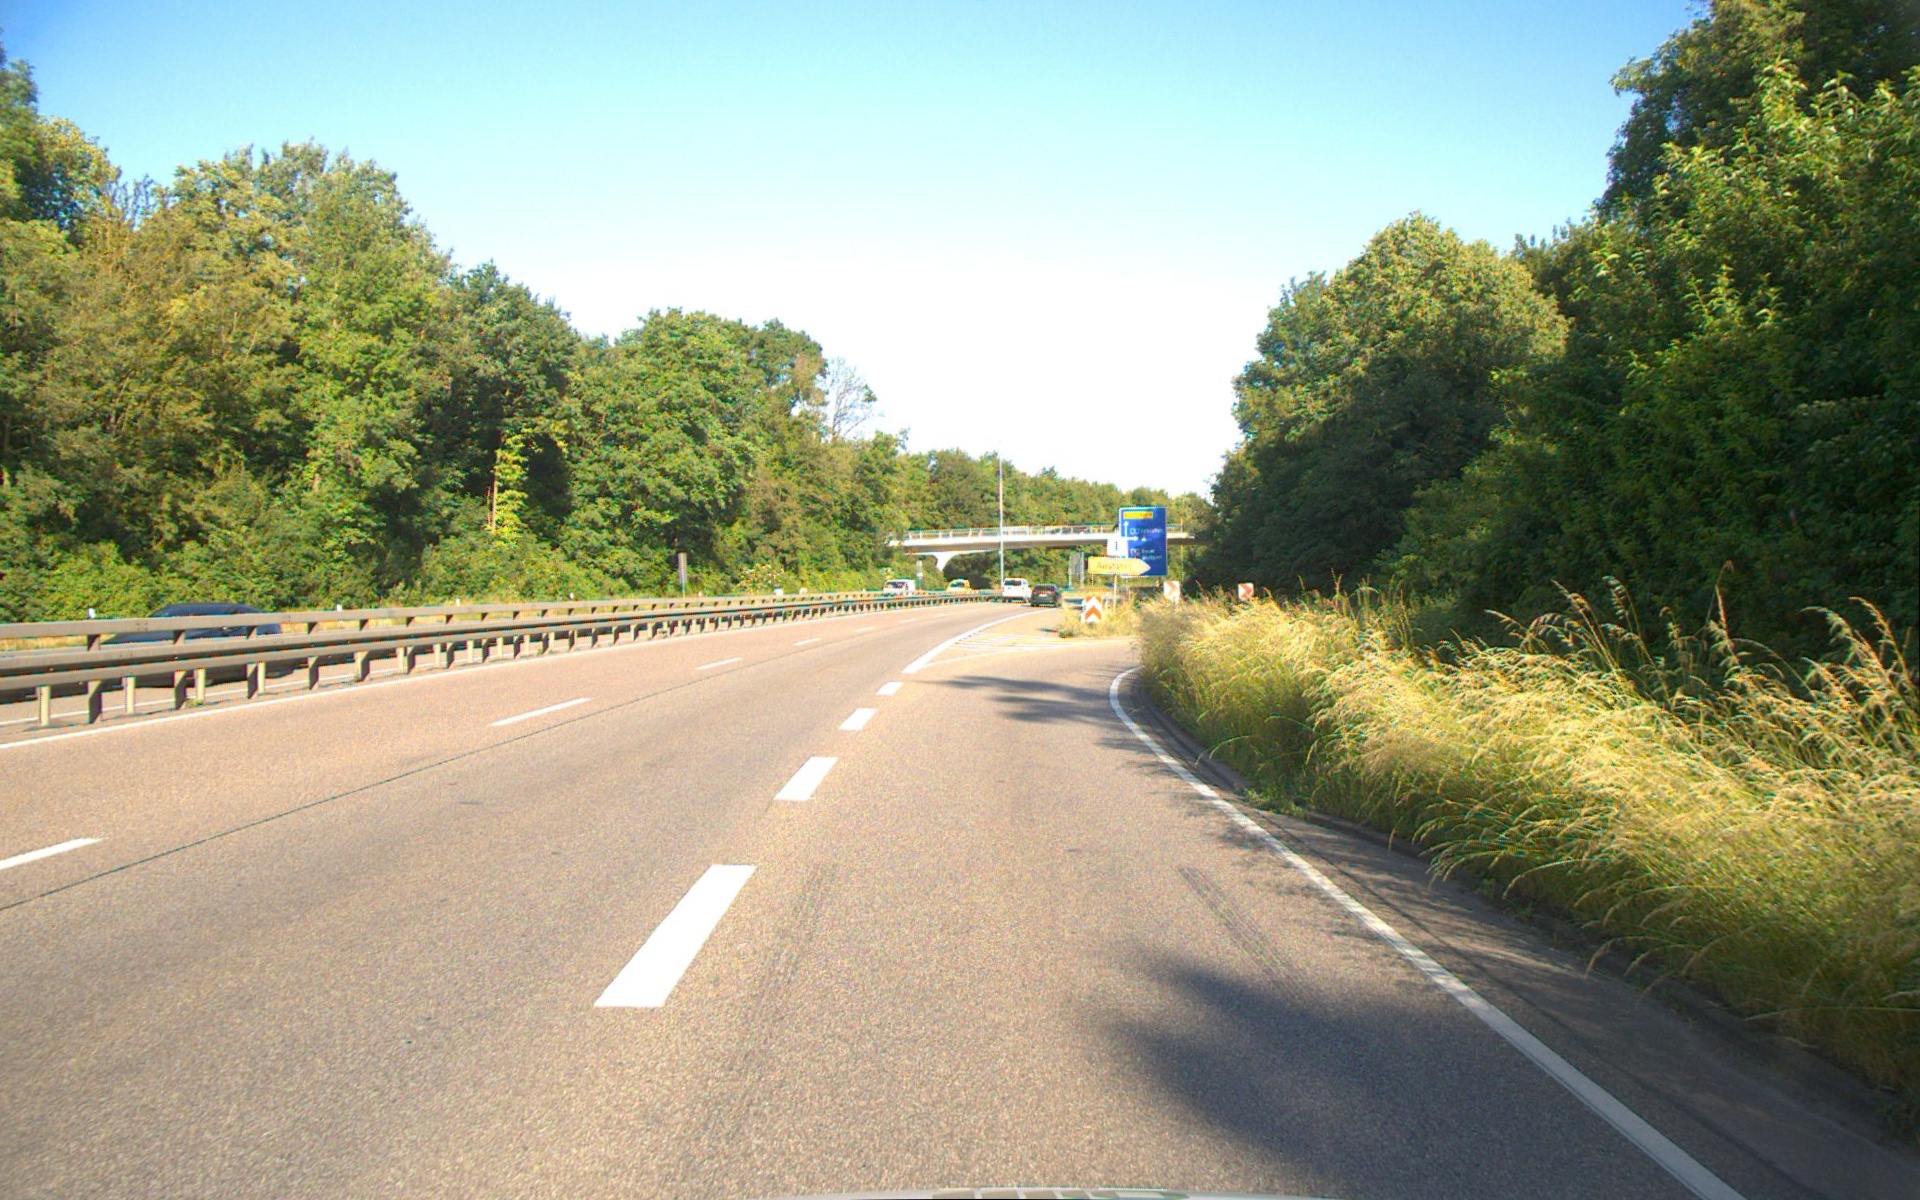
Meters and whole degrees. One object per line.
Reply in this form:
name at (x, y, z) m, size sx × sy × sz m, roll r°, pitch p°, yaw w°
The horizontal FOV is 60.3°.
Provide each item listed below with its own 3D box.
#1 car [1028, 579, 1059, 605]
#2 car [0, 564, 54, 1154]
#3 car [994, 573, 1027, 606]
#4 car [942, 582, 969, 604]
car at (5.475, -0.519, 108.447) m, size 1.702 × 1.691 × 3.949 m, roll -1°, pitch 0°, yaw 8°
car at (-3.428, 0.669, 1.717) m, size 1.890 × 1.534 × 5.599 m, roll 1°, pitch 0°, yaw 0°
car at (3.745, -0.772, 122.221) m, size 1.951 × 2.317 × 4.003 m, roll -1°, pitch 0°, yaw 9°
car at (-0.408, -0.706, 158.757) m, size 1.951 × 2.049 × 4.003 m, roll -1°, pitch 0°, yaw 9°
